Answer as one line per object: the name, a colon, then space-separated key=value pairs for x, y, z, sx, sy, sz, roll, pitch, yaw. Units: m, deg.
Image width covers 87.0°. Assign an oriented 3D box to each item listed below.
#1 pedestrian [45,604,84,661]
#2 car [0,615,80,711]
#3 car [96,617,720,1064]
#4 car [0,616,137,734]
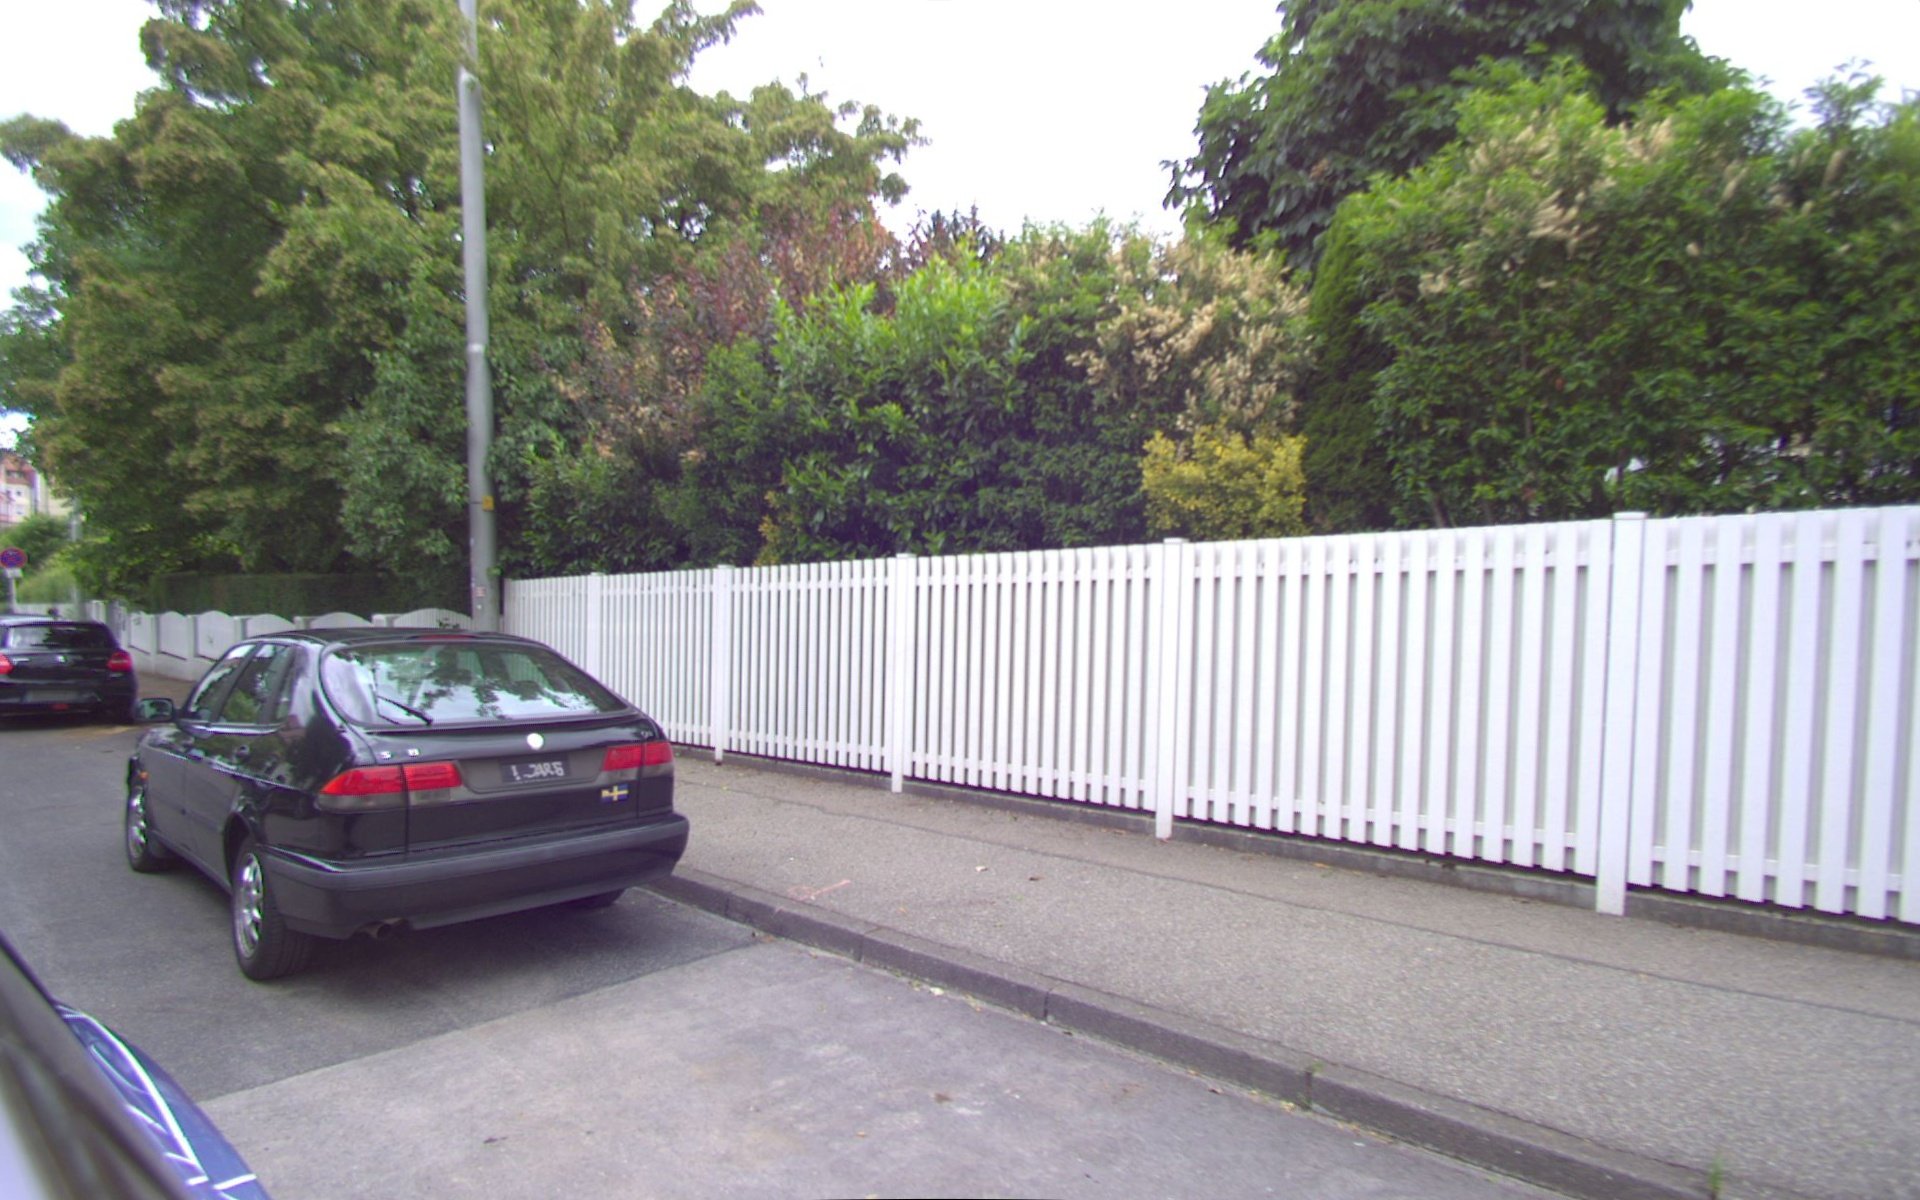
pedestrian: x=-25.815 y=0.927 z=29.177 sx=0.797 sy=1.557 sz=0.602 roll=-1 pitch=5 yaw=41
car: x=-16.580 y=1.048 z=17.432 sx=2.959 sy=1.545 sz=1.606 roll=-1 pitch=-2 yaw=38
car: x=-3.267 y=0.827 z=5.445 sx=4.550 sy=1.433 sz=1.622 roll=-1 pitch=-3 yaw=44
car: x=-13.234 y=0.995 z=14.496 sx=3.887 sy=1.492 sz=1.637 roll=-1 pitch=-3 yaw=42
